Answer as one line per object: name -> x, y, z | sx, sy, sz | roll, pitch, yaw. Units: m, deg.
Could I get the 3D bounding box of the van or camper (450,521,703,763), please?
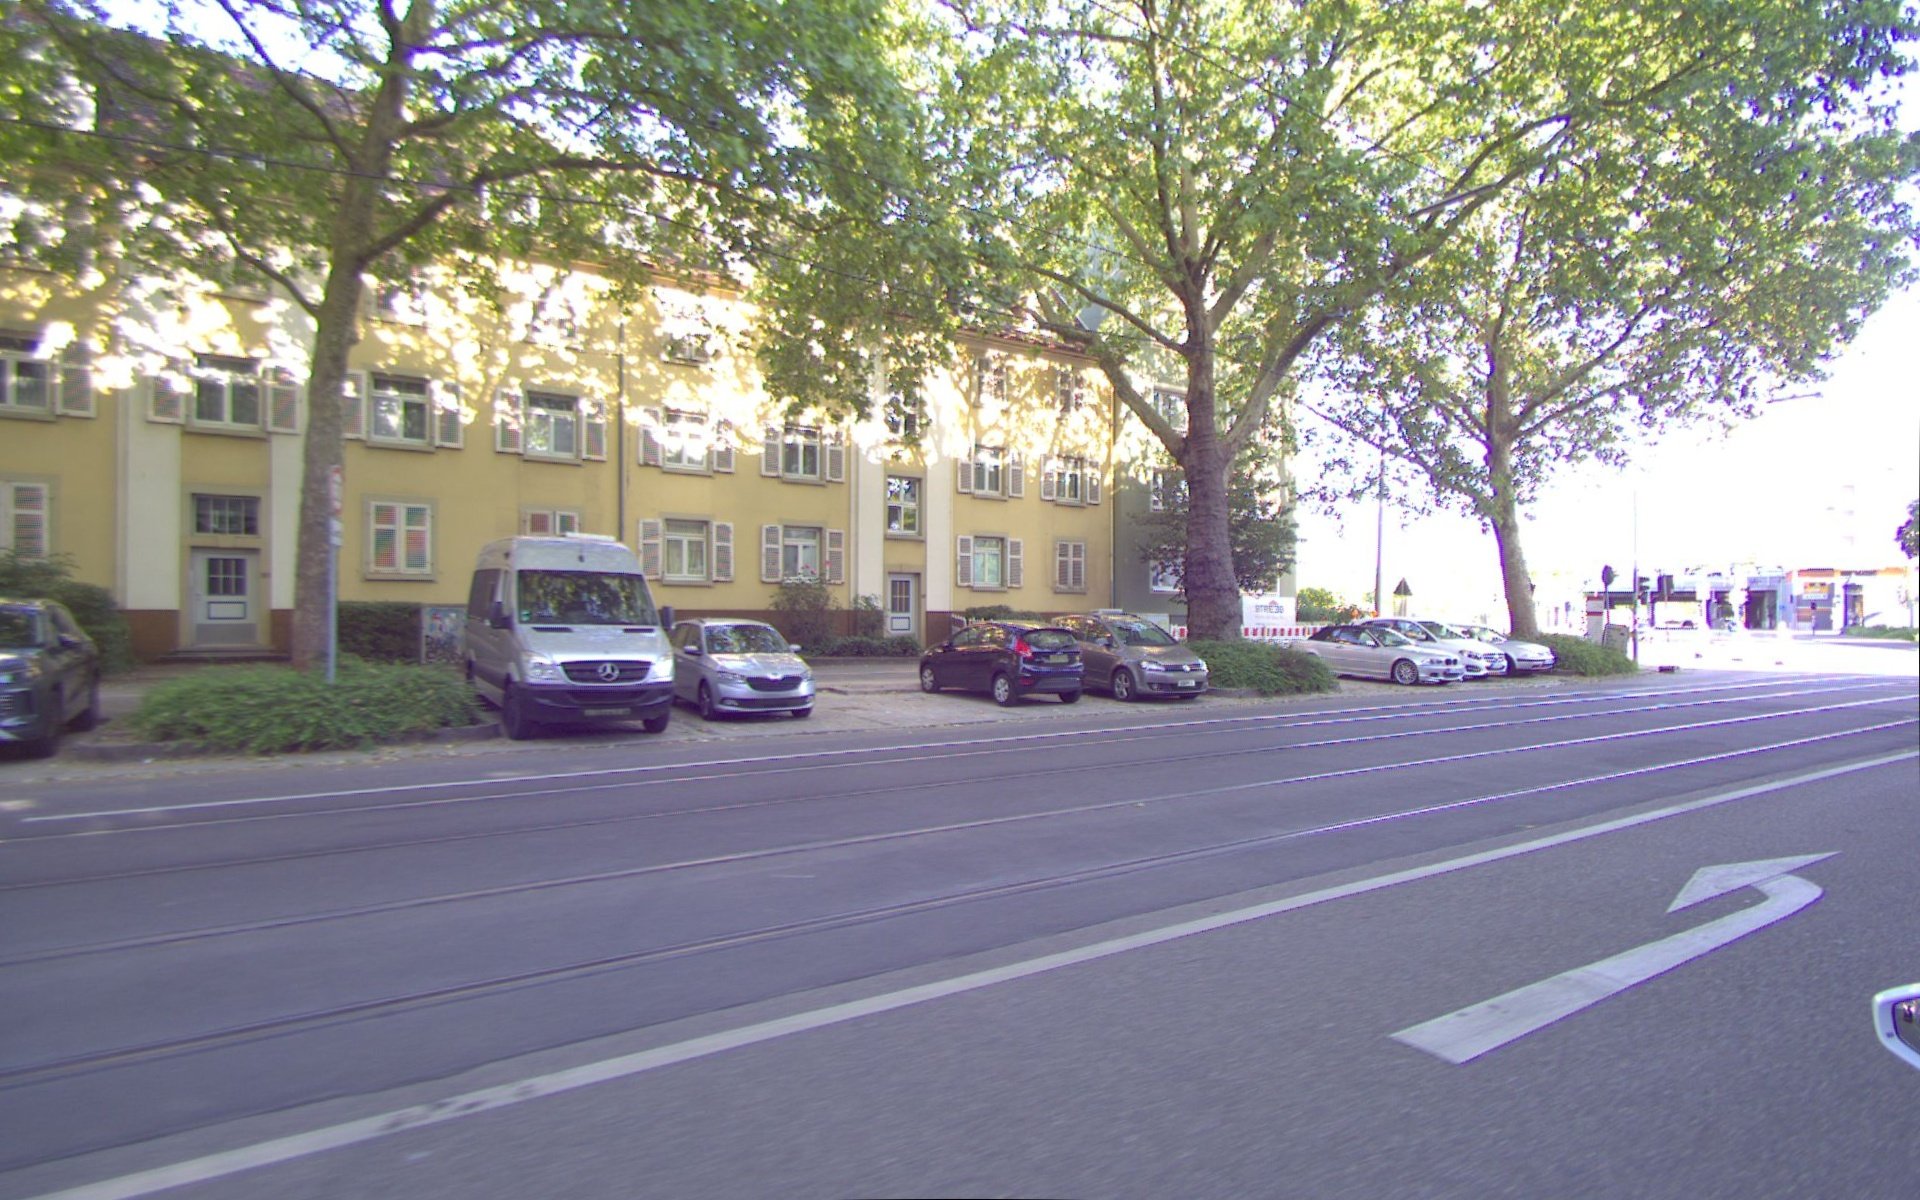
van or camper -> -5.768, 0.483, 14.457 | 2.205, 2.713, 6.075 | 1, 0, -33

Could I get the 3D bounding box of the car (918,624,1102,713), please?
car -> 0.837, 1.192, 18.806 | 1.723, 1.448, 3.543 | 1, -1, -32

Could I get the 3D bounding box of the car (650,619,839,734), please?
car -> -3.599, 1.134, 16.228 | 1.711, 1.489, 4.123 | 2, -1, -31

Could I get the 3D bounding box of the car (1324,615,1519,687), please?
car -> 12.373, 1.304, 27.240 | 1.778, 1.640, 4.585 | 1, 0, -31

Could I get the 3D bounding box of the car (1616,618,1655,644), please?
car -> 43.927, 1.983, 65.277 | 1.802, 1.539, 3.877 | 2, 0, 39

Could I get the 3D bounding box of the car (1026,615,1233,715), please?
car -> 3.239, 1.185, 20.020 | 1.794, 1.627, 4.167 | 1, 1, -30

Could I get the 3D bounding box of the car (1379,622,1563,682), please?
car -> 14.429, 1.415, 28.623 | 1.657, 1.448, 4.488 | 1, 0, -31

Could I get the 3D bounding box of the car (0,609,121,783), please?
car -> -10.840, 0.926, 11.047 | 1.949, 1.652, 4.536 | 1, -1, -33

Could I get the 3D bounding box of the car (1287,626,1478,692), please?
car -> 10.459, 1.405, 25.161 | 1.709, 1.386, 4.218 | 1, 0, -32
